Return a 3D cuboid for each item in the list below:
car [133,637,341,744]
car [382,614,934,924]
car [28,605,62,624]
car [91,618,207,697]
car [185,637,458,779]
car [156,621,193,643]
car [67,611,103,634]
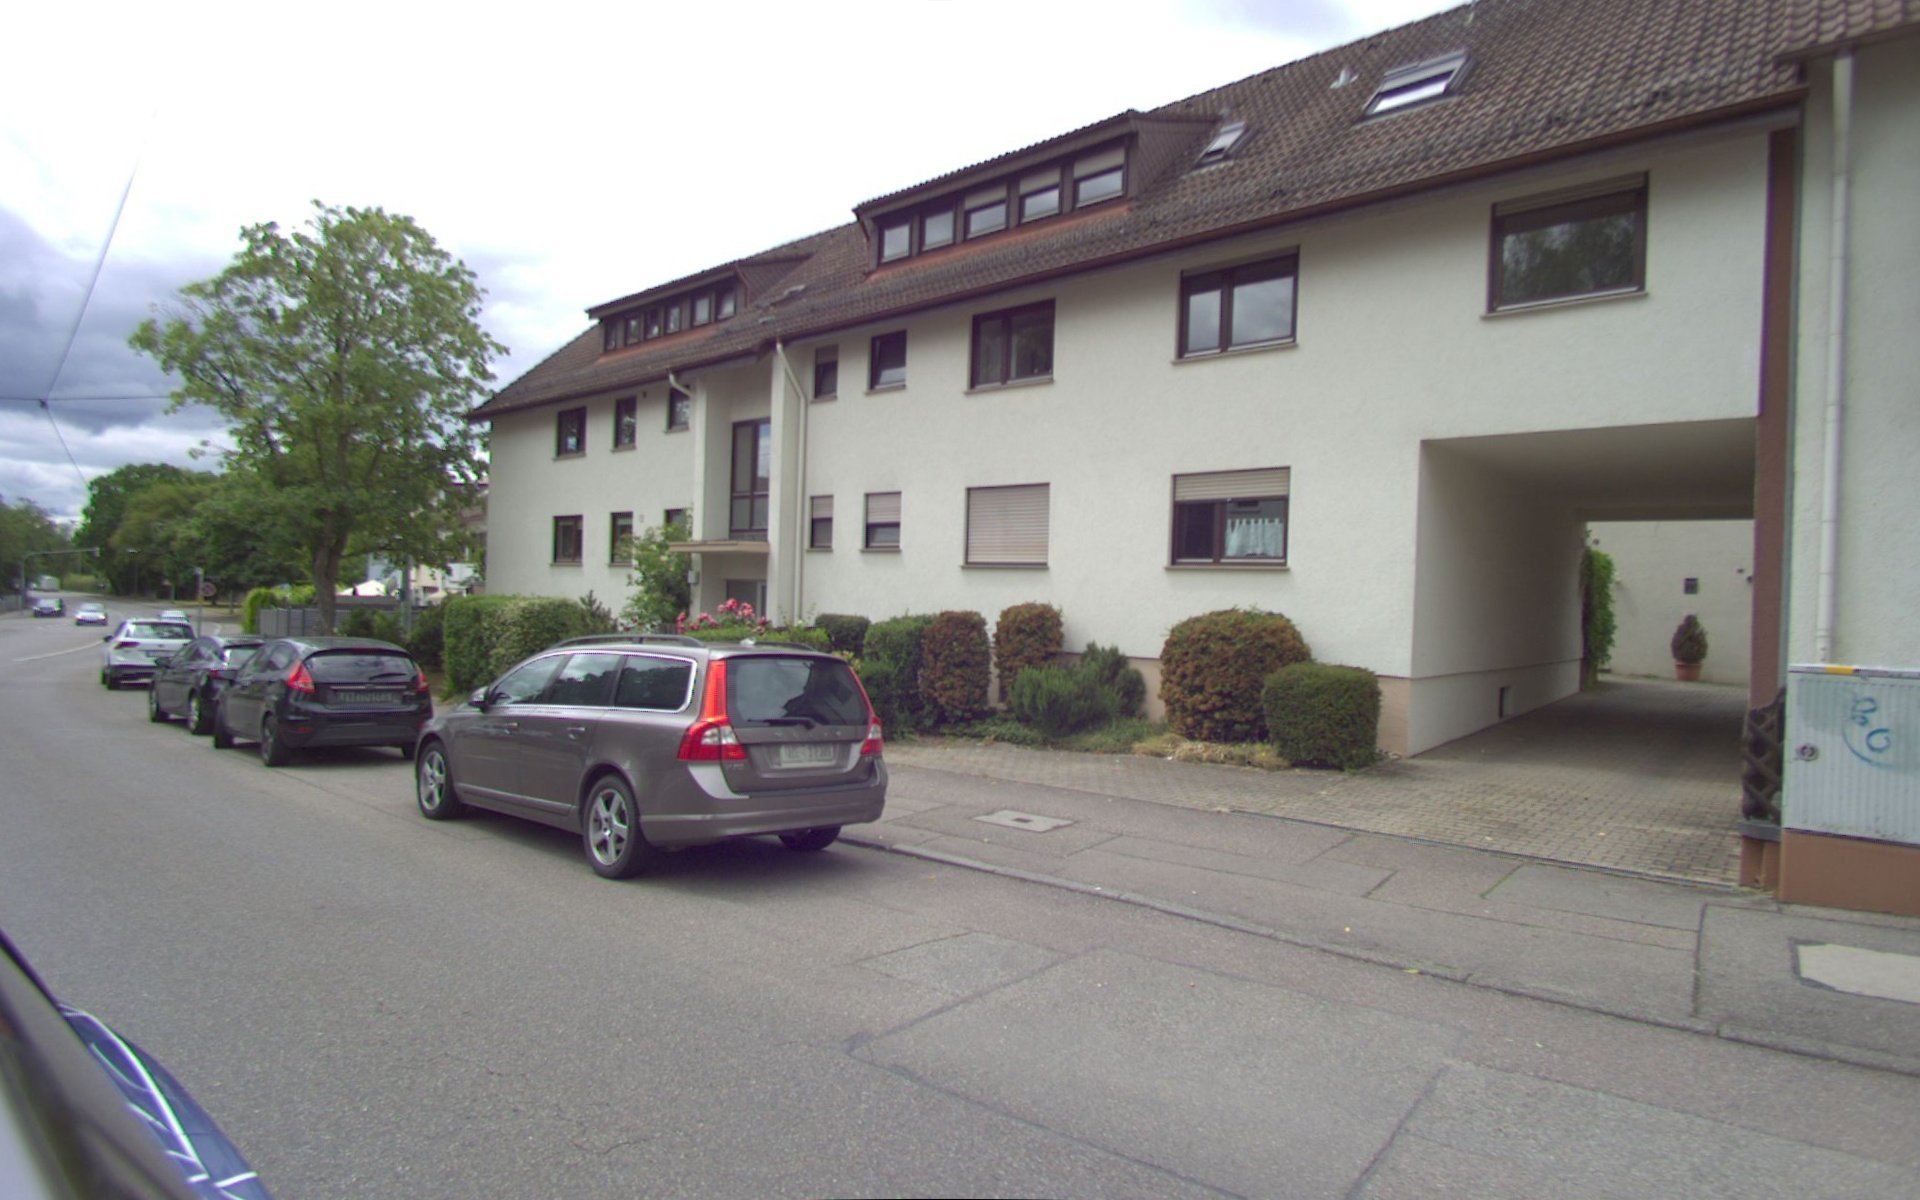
[{"bbox_3d":[-11.558,1.343,16.097,4.076,1.449,1.744,-1,-3,41],"label":"car"},{"bbox_3d":[-2.582,1.002,7.862,4.785,1.693,1.827,-1,-4,42],"label":"car"},{"bbox_3d":[-78.819,1.251,87.226,1.897,1.530,4.008,1,0,-39],"label":"car"},{"bbox_3d":[-19.940,1.354,24.802,1.827,1.727,4.579,3,-3,-43],"label":"car"},{"bbox_3d":[-8.062,1.251,12.647,4.077,1.449,1.744,-1,-6,42],"label":"car"},{"bbox_3d":[-55.991,2.264,72.175,1.689,1.364,4.094,4,-2,-33],"label":"car"},{"bbox_3d":[-64.037,1.636,74.062,3.560,1.530,1.755,2,2,45],"label":"car"}]
